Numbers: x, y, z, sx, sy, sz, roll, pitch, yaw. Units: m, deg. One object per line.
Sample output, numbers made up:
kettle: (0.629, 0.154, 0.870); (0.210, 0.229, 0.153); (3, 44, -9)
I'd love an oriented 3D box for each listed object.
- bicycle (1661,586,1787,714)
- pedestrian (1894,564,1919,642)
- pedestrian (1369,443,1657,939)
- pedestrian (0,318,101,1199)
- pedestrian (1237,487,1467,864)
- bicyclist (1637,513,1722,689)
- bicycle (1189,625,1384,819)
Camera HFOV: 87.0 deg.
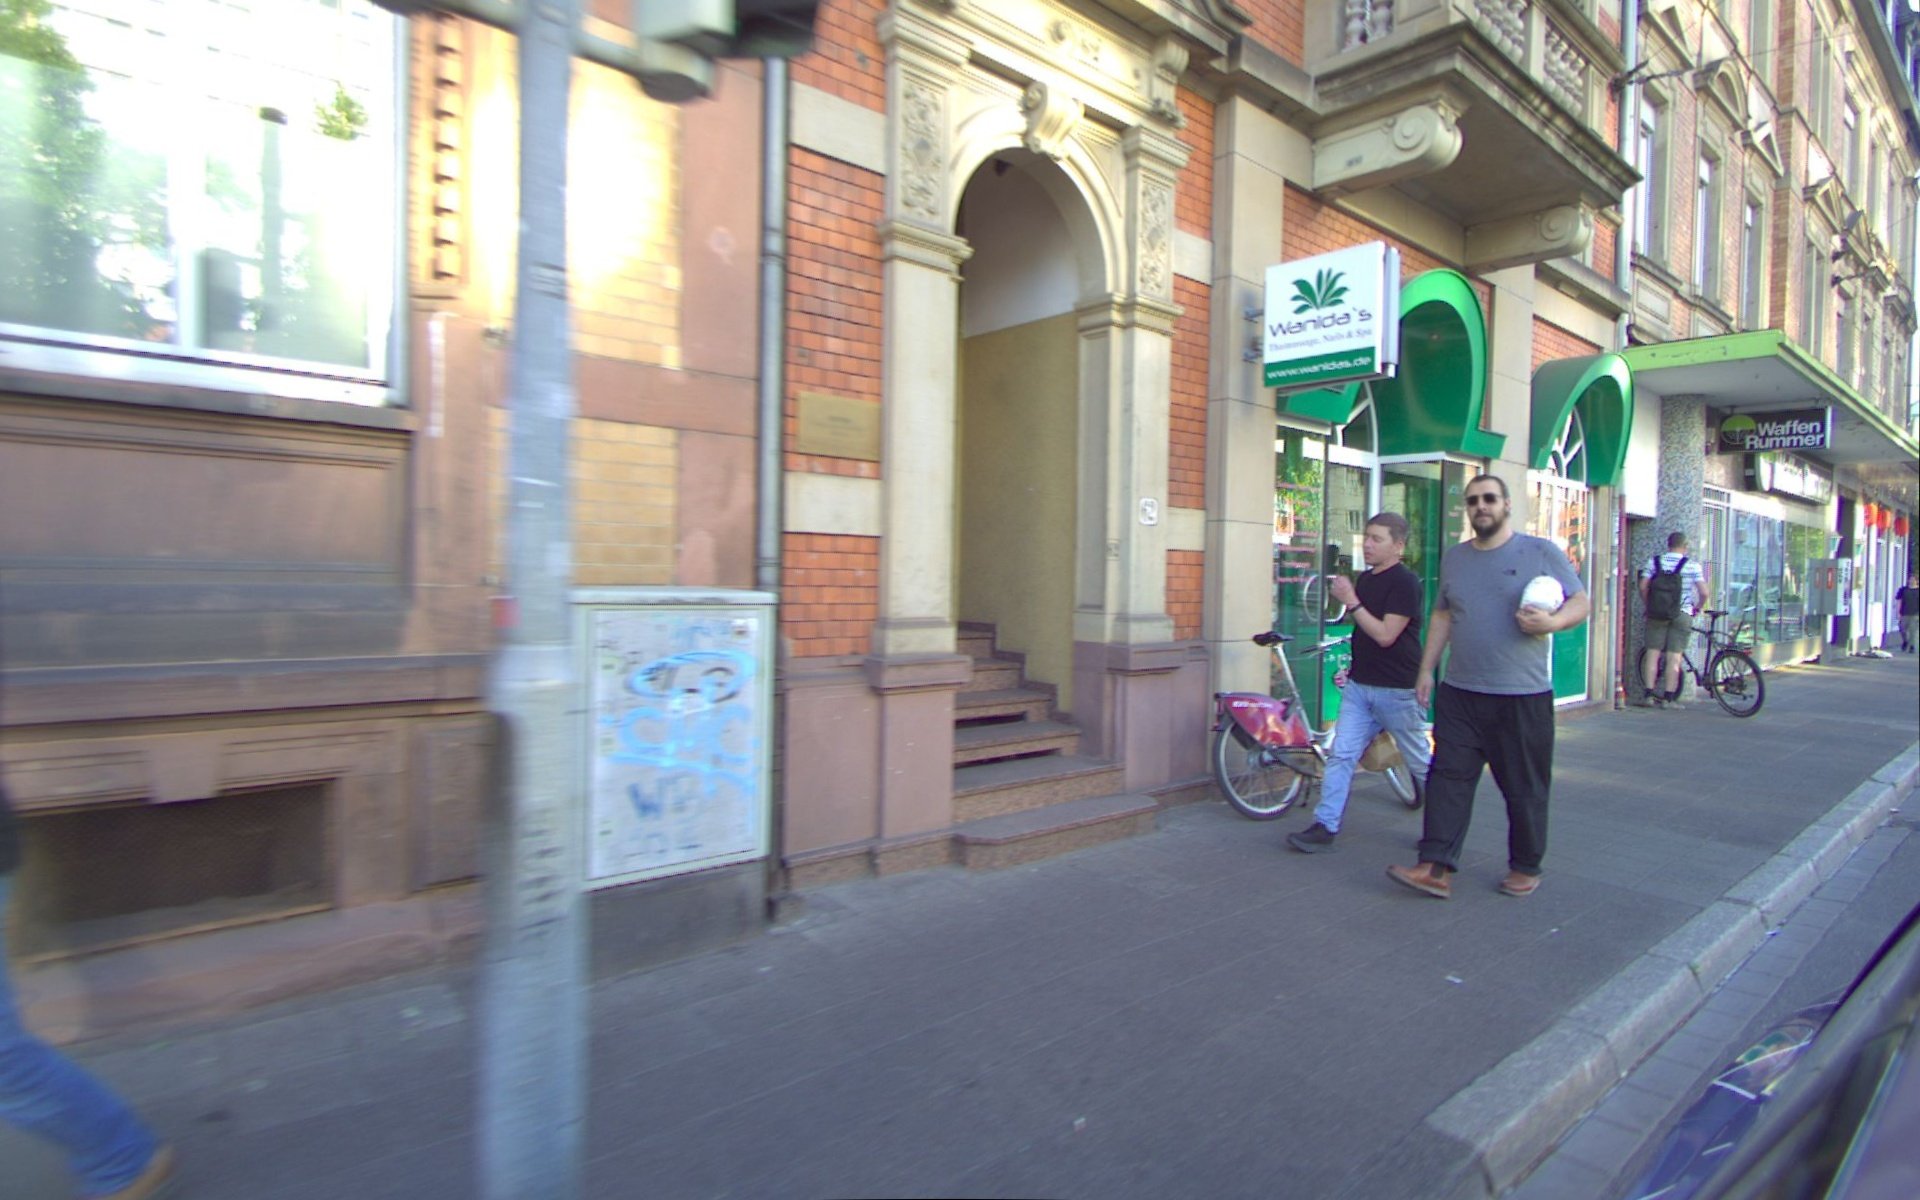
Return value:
bicycle: (8.493, 0.497, 11.329); (0.661, 1.269, 1.880); (1, 2, 23)
pedestrian: (21.813, 0.066, 22.983); (0.669, 1.744, 0.701); (0, 3, -39)
pedestrian: (2.415, 0.333, 4.452); (0.741, 1.917, 0.824); (0, 3, -40)
pedestrian: (-2.109, 0.368, 1.898); (0.741, 1.744, 0.777); (0, 3, -40)
pedestrian: (2.002, 0.327, 5.194); (0.741, 1.744, 0.777); (0, 3, -40)
bicyclist: (8.134, -0.004, 11.465); (0.593, 1.905, 0.738); (1, 1, 24)
bicycle: (1.931, 0.675, 5.938); (1.216, 1.008, 0.346); (0, 3, -32)
